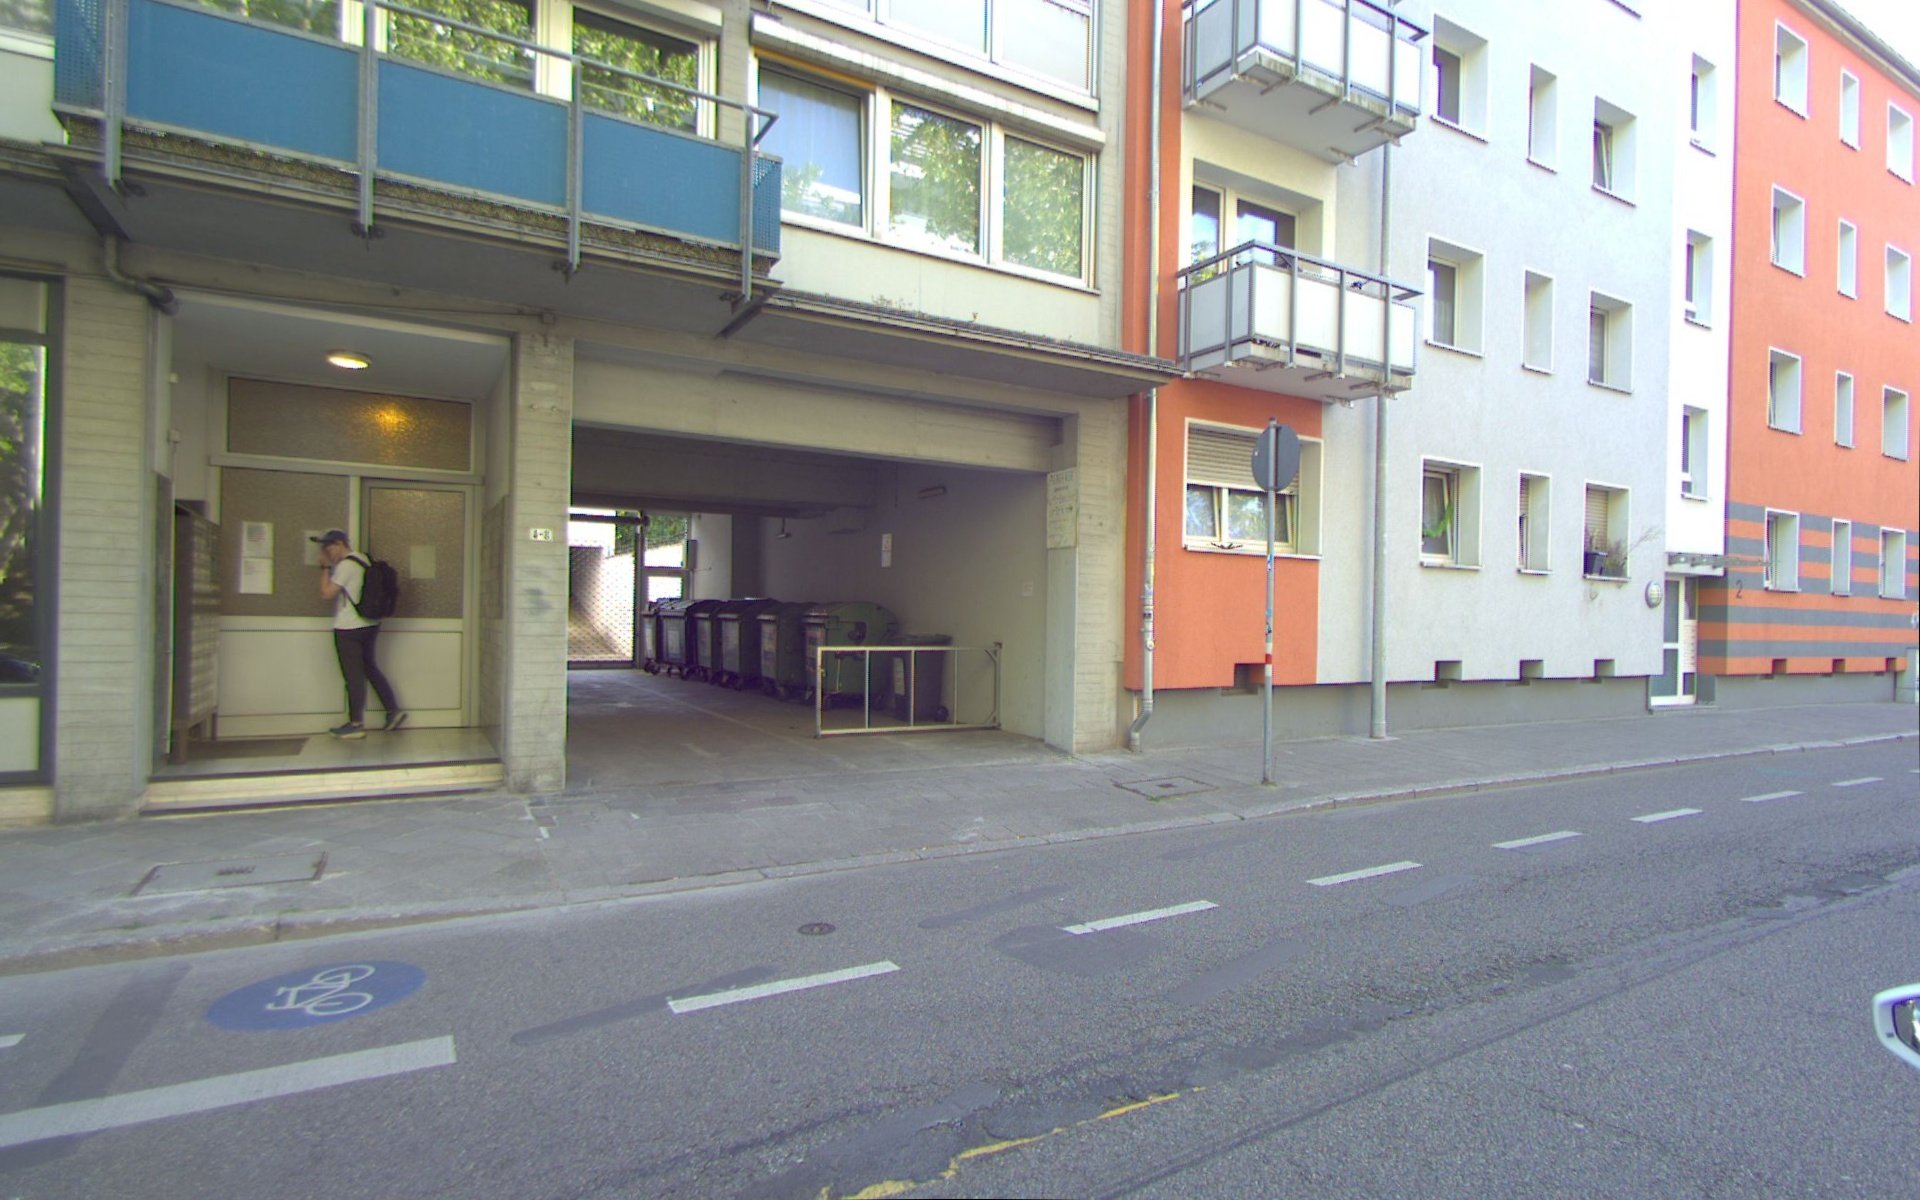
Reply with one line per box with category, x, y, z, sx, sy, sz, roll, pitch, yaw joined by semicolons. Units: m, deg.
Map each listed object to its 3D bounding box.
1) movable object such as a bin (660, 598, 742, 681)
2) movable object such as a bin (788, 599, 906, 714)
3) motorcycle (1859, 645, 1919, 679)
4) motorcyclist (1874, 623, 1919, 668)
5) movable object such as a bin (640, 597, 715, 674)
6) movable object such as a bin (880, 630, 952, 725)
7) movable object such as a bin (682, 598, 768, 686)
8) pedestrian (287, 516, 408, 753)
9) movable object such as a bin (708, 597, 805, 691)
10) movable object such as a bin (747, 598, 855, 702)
movable object such as a bin;-4.848;0.721;18.751;1.186;1.467;1.222;2;0;-30
movable object such as a bin;-1.571;0.741;13.800;1.159;1.467;1.319;2;0;-30
motorcycle;28.410;1.872;30.292;0.741;0.904;2.059;2;0;0
motorcyclist;28.448;1.368;30.415;0.774;1.312;0.802;2;0;-1
movable object such as a bin;-5.624;0.686;19.980;1.186;1.467;1.027;2;0;-30
movable object such as a bin;-0.543;0.941;12.408;0.745;1.116;0.463;2;0;-30
movable object such as a bin;-4.149;0.720;17.708;1.186;1.467;1.114;2;0;-30
pedestrian;-5.202;0.286;8.533;0.780;1.904;0.575;2;0;-38
movable object such as a bin;-3.378;0.699;16.618;1.186;1.467;1.319;2;0;-30
movable object such as a bin;-2.411;0.722;15.133;1.186;1.467;1.319;2;0;-30
